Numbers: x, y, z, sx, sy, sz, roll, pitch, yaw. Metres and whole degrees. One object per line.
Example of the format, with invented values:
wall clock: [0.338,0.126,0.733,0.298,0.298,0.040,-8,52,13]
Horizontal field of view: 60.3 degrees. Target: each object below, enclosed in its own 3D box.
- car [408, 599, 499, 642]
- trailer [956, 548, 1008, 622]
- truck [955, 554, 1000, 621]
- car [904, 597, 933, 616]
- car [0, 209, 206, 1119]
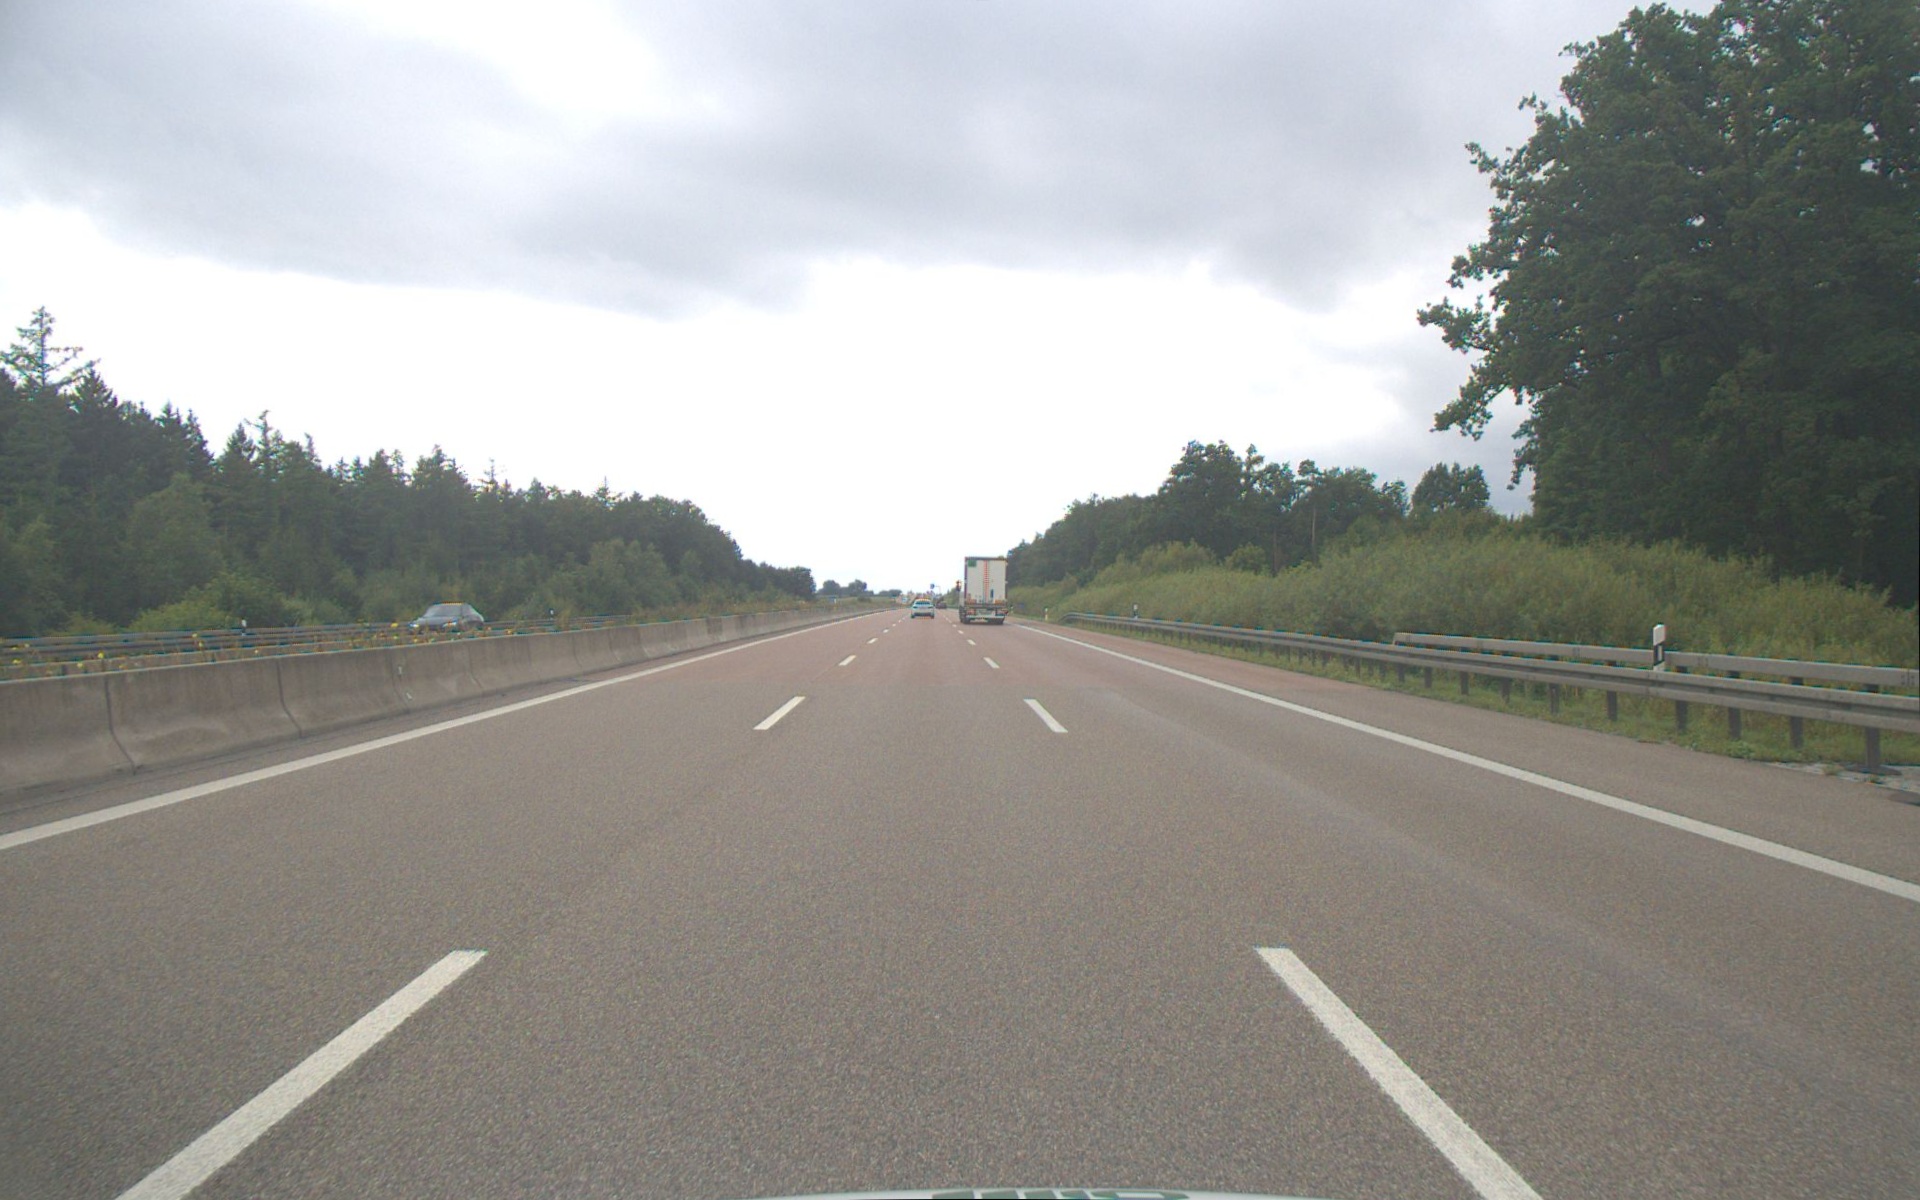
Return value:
car: [-19.931,0.764,65.319,2.081,1.619,5.196,0,0,-2]
trailer: [1.275,-0.844,104.388,2.862,4.369,13.610,0,0,-1]
truck: [1.140,-0.818,112.154,2.862,4.369,5.333,0,0,-1]
car: [-3.323,0.526,133.034,2.119,1.476,4.719,2,0,0]
car: [-3.694,0.188,2.355,2.094,2.551,7.130,0,0,-1]
